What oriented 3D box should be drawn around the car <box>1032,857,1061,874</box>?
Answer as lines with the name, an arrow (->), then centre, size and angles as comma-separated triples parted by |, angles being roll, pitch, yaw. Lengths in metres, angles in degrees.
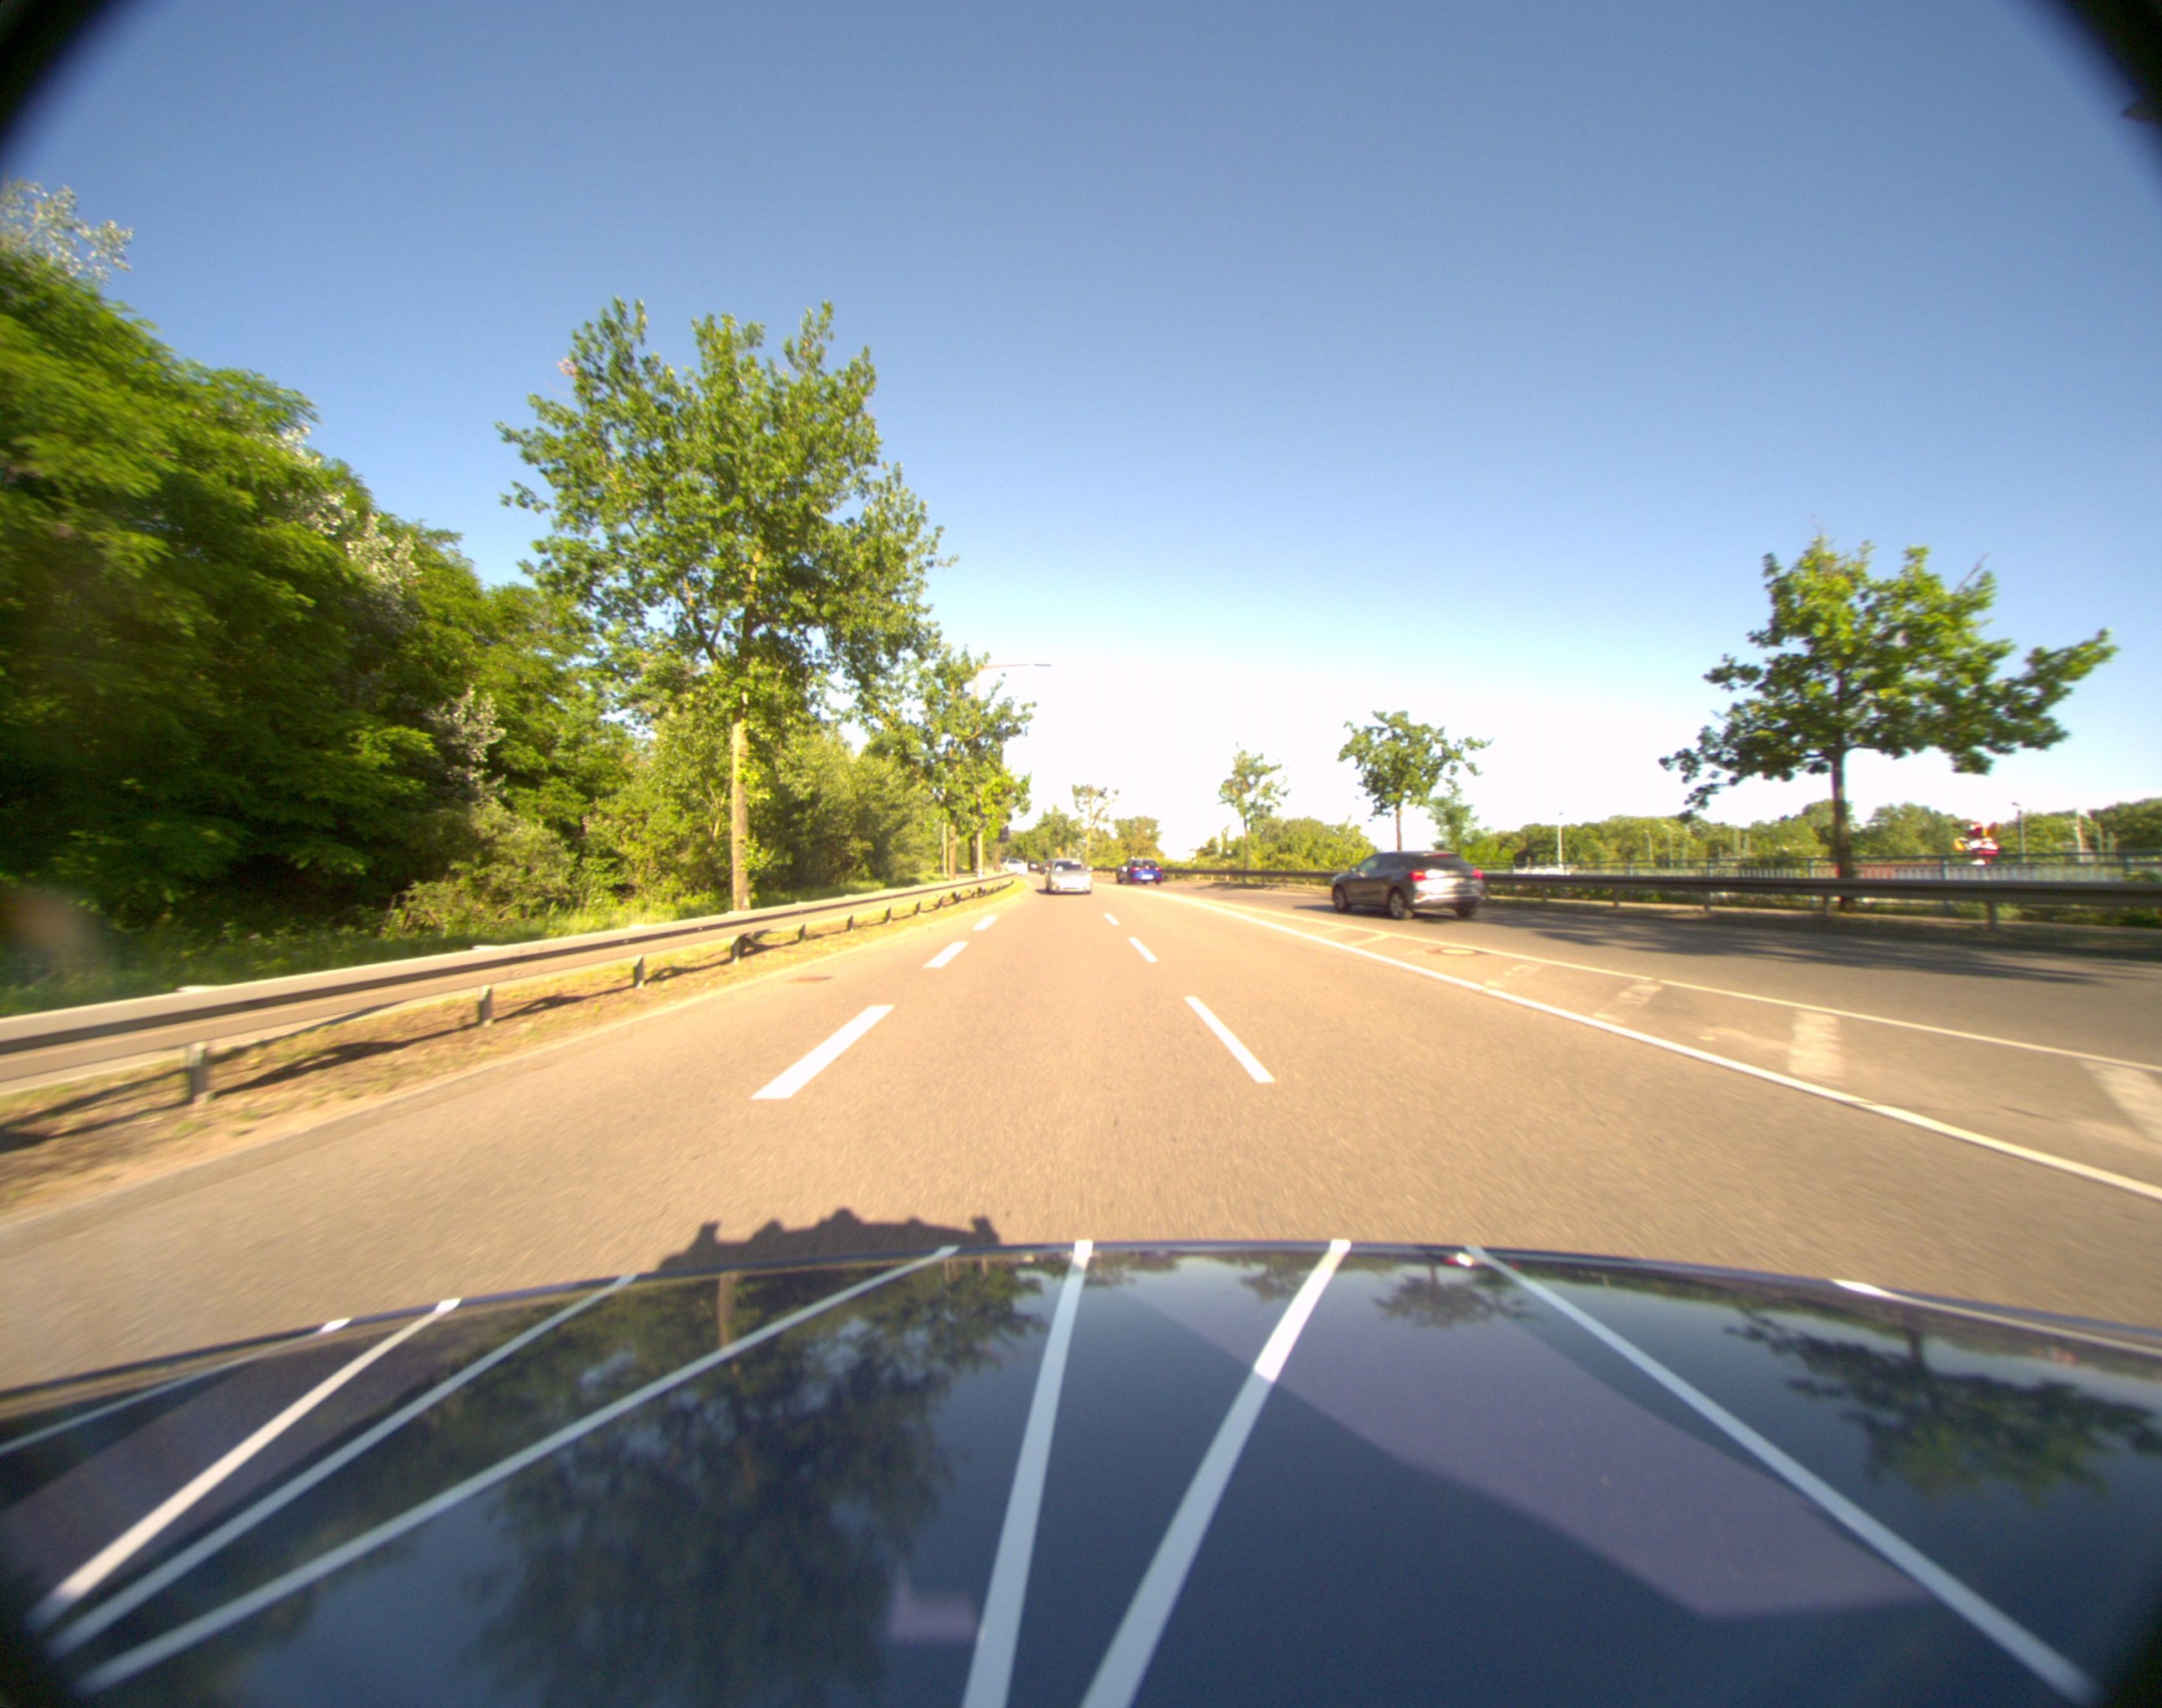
car -> -3.324, 1.066, 71.900 | 1.816, 1.488, 4.363 | 1, 0, -15

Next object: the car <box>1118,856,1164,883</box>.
car -> 3.286, 0.830, 42.212 | 1.670, 1.437, 3.846 | 0, 0, -10

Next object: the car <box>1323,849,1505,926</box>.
car -> 7.453, 0.684, 17.544 | 1.768, 1.480, 4.273 | -2, 0, -9

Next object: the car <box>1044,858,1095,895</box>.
car -> -0.531, 0.899, 31.484 | 1.684, 1.433, 3.856 | 1, 0, -7

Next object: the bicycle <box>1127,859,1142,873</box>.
bicycle -> 4.409, 0.982, 62.998 | 0.662, 1.089, 2.106 | 1, 0, -11

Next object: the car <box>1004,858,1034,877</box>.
car -> -5.636, 1.184, 68.448 | 2.152, 1.558, 4.193 | 2, 0, -12

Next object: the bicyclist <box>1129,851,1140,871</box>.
bicyclist -> 4.440, 0.592, 62.909 | 0.654, 1.614, 0.873 | 1, 0, -11

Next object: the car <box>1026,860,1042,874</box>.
car -> -6.334, 1.729, 102.121 | 1.684, 1.694, 3.602 | 1, 0, -9
